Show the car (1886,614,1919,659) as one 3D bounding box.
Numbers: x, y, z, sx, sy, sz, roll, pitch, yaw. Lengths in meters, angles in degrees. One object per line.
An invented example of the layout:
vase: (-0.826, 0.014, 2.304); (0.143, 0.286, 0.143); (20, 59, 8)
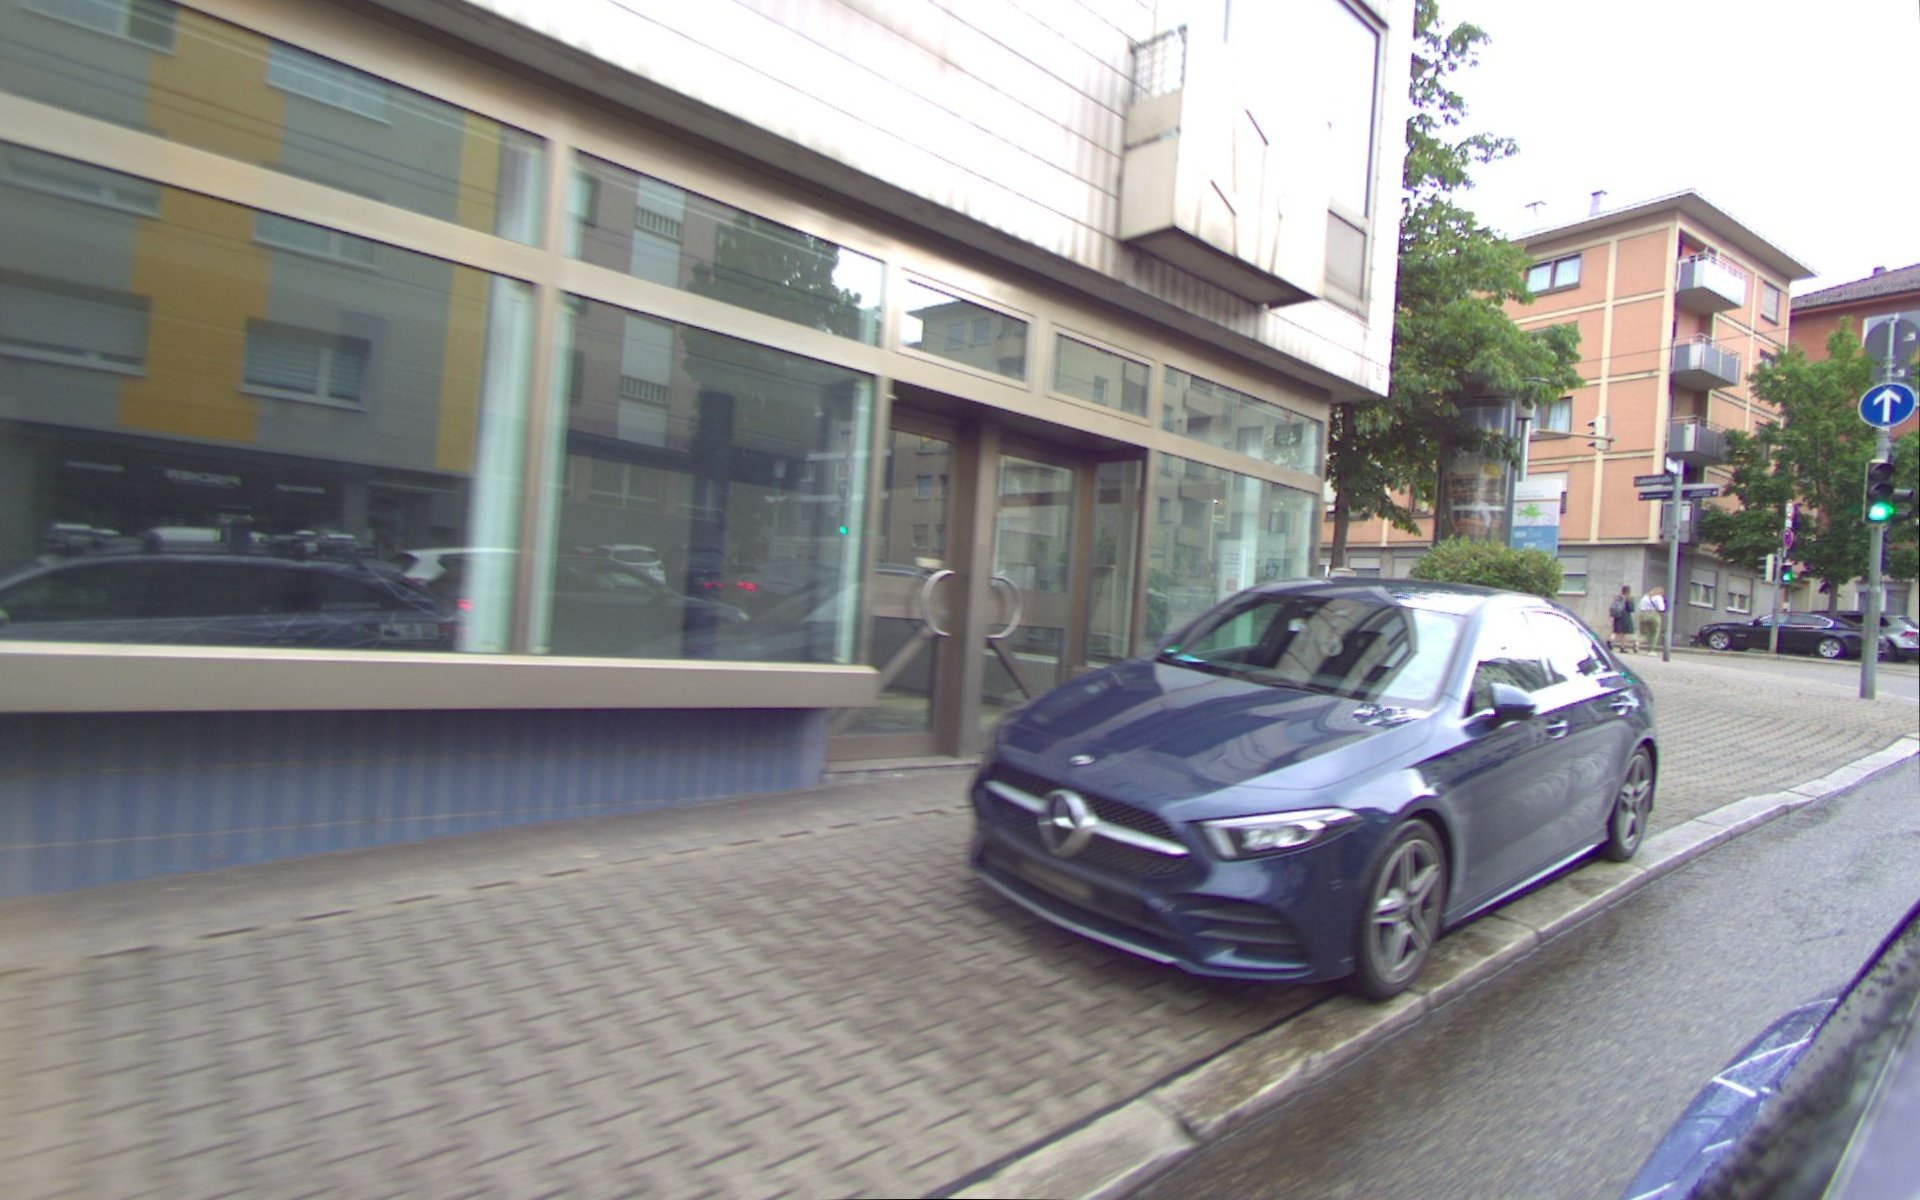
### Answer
car: (39.715, 1.516, 40.077); (1.958, 1.728, 4.007); (5, -2, -21)

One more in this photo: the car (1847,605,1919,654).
car: (35.688, 1.141, 37.376); (1.762, 1.719, 4.008); (5, -1, -22)

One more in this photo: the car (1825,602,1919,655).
car: (33.387, 1.023, 35.607); (1.951, 1.741, 4.008); (2, 0, -21)

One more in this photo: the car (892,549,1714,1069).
car: (1.942, 0.545, 4.917); (4.301, 1.408, 1.768); (0, 5, -40)

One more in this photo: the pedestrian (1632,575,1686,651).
pedestrian: (16.404, 0.305, 23.777); (0.750, 1.667, 0.705); (6, 0, 21)

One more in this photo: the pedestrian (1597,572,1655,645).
pedestrian: (16.110, 0.196, 24.495); (0.695, 1.667, 0.761); (6, 0, -15)

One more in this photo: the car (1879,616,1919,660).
car: (37.698, 1.479, 38.333); (1.639, 1.602, 4.007); (5, -2, -15)

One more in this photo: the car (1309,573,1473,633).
car: (12.360, 0.054, 29.240); (1.813, 1.532, 4.003); (2, 0, -32)

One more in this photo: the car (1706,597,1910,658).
car: (27.993, 0.864, 33.609); (1.813, 1.573, 4.802); (3, 2, -31)

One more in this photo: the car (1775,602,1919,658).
car: (30.775, 1.007, 34.664); (1.954, 1.681, 4.002); (3, 0, -34)
